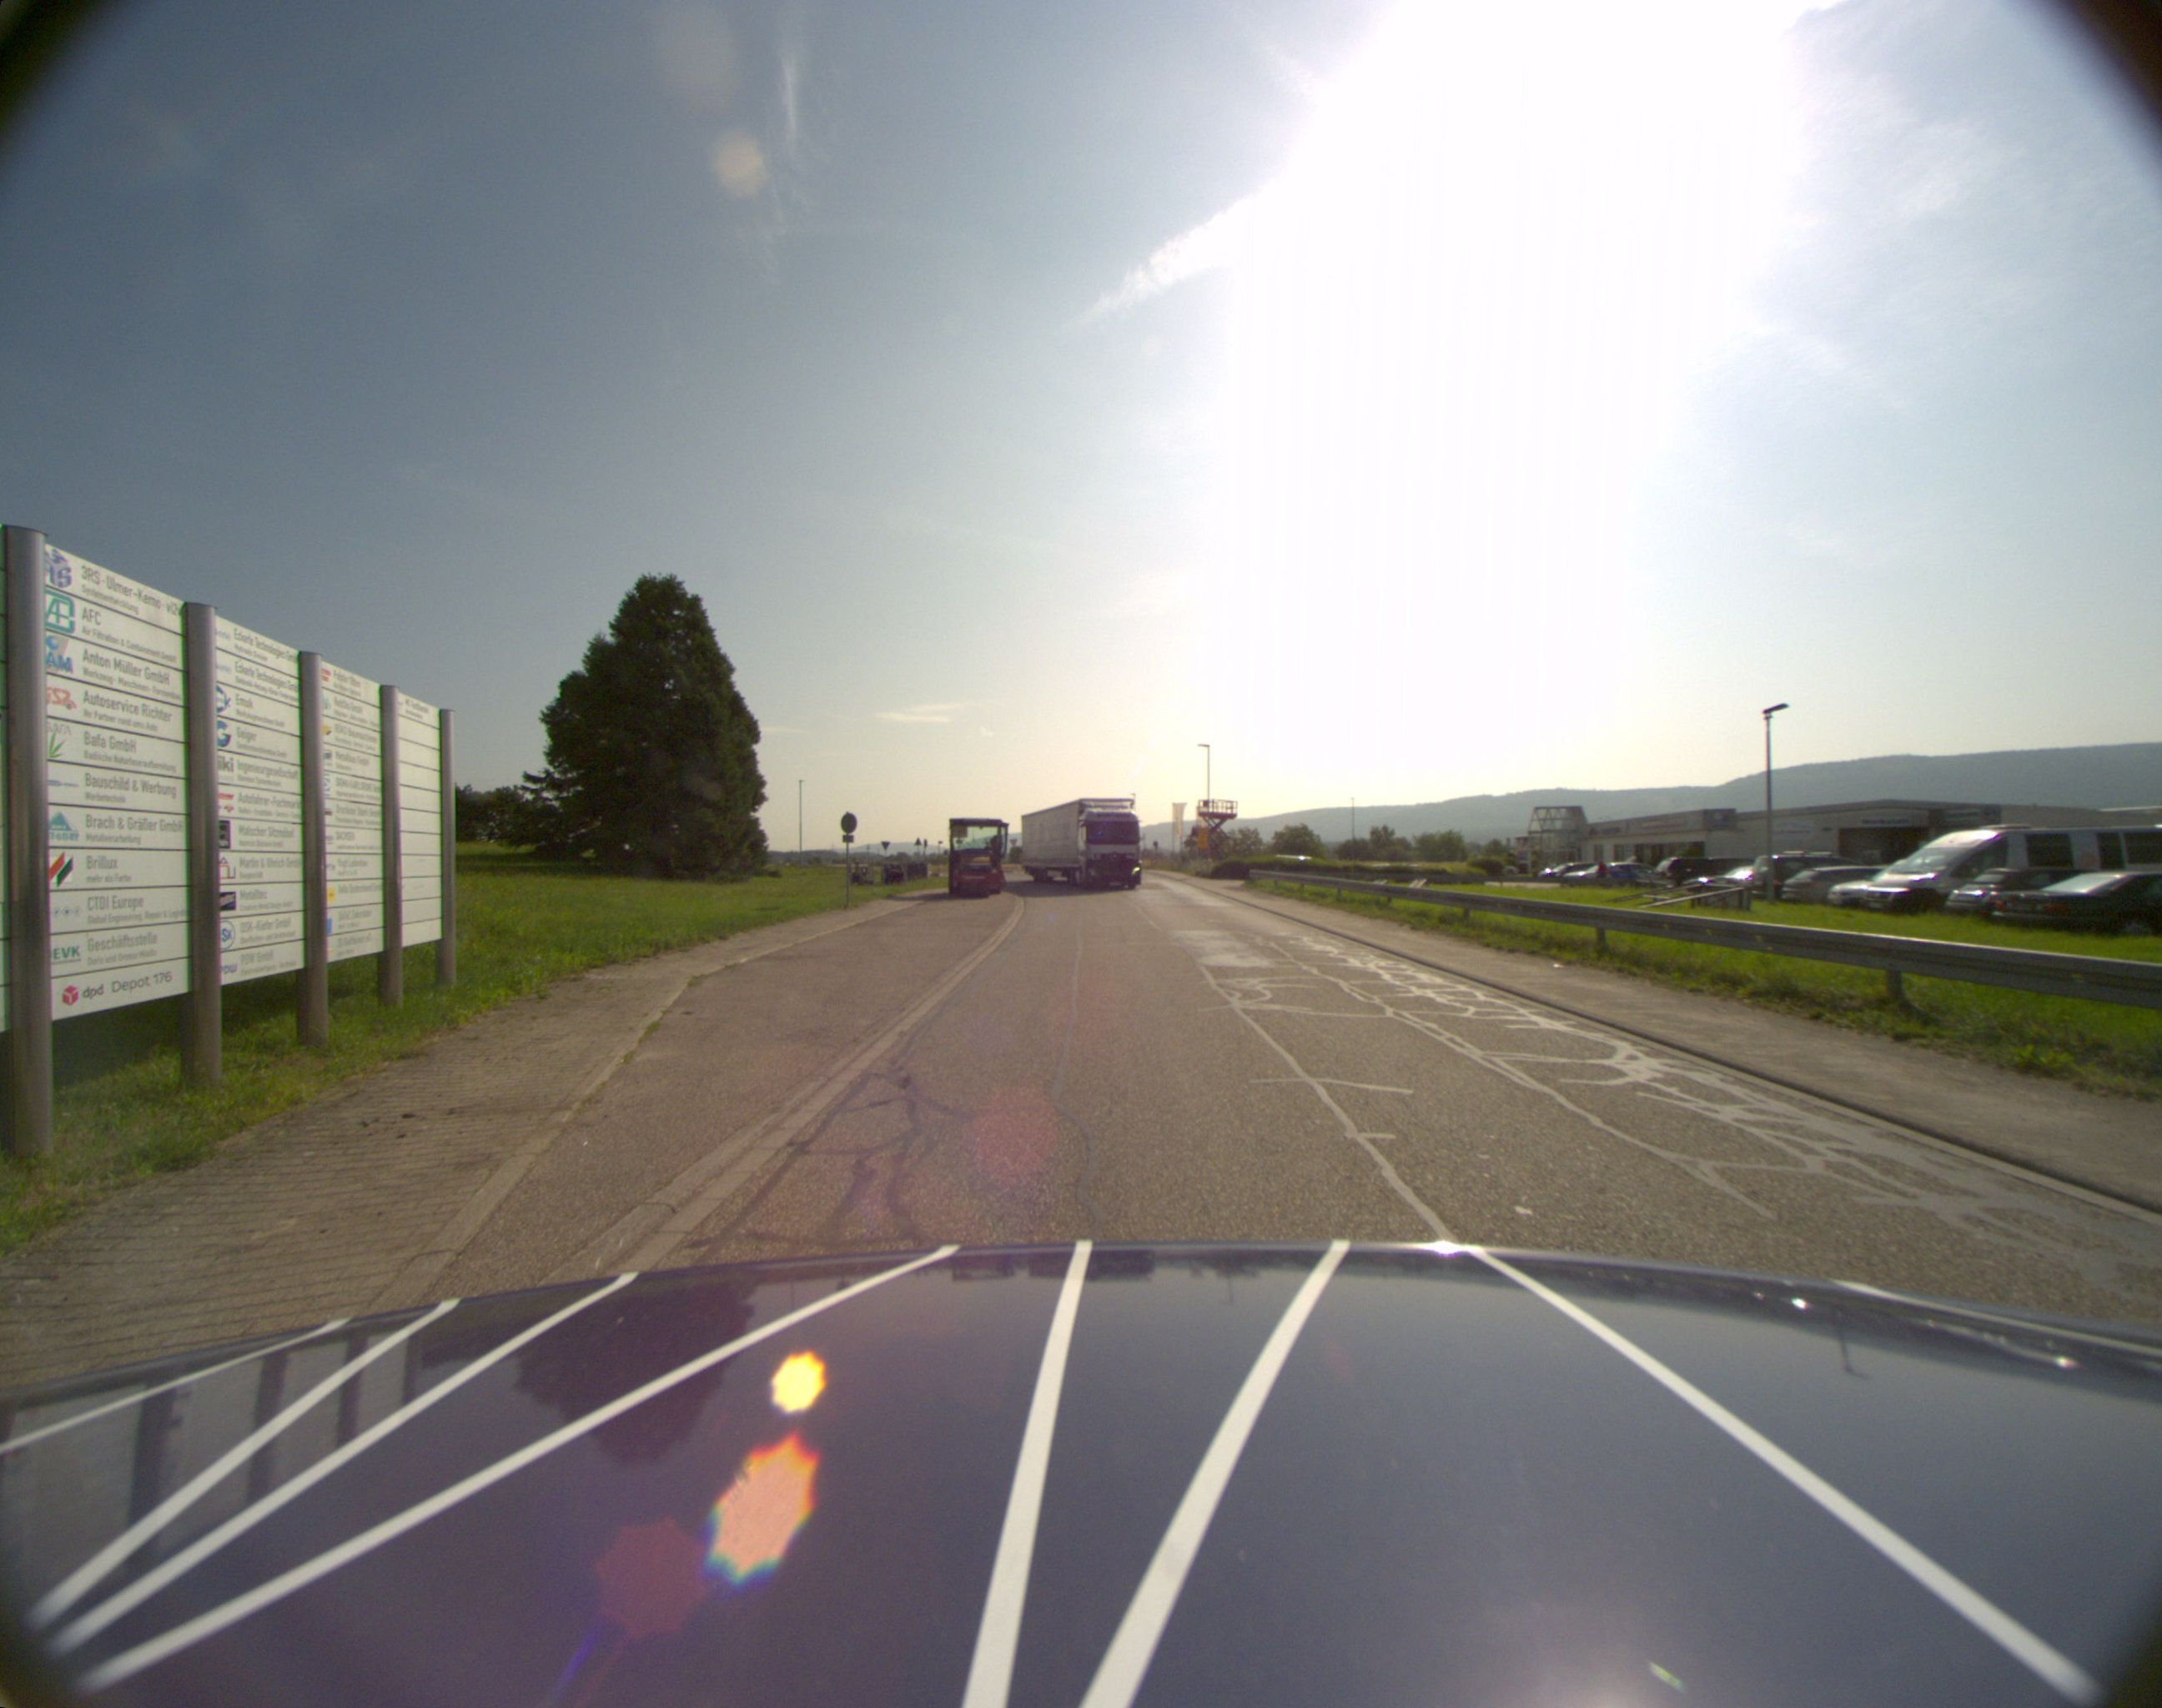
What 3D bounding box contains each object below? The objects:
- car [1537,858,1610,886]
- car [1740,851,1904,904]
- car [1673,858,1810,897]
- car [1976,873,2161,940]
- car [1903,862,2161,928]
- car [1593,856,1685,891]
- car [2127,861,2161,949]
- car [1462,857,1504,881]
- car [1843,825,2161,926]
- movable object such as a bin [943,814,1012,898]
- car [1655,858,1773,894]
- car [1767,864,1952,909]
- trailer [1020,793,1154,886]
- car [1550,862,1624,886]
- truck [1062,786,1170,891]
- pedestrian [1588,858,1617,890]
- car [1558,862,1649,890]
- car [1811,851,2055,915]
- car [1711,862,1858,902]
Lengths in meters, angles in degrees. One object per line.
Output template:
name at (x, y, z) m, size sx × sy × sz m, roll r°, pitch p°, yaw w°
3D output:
car at (35.183, 1.246, 54.375) m, size 4.087 × 1.861 × 1.820 m, roll 1°, pitch 0°, yaw 24°
car at (26.113, 0.782, 26.928) m, size 3.750 × 1.741 × 1.751 m, roll 1°, pitch 0°, yaw 15°
car at (27.533, 0.950, 31.818) m, size 3.993 × 1.512 × 1.686 m, roll 1°, pitch 0°, yaw 13°
car at (21.239, 1.027, 14.763) m, size 4.686 × 1.212 × 1.834 m, roll 1°, pitch -1°, yaw 20°
car at (22.651, 0.921, 17.444) m, size 4.755 × 1.346 × 1.925 m, roll 1°, pitch -1°, yaw 20°
car at (31.774, 1.106, 43.396) m, size 3.767 × 1.785 × 1.935 m, roll -2°, pitch 1°, yaw 14°
car at (21.163, 0.919, 12.043) m, size 5.131 × 1.525 × 2.029 m, roll 1°, pitch -1°, yaw 20°
car at (34.648, 1.256, 65.570) m, size 1.997 × 2.002 × 4.160 m, roll 1°, pitch 0°, yaw 9°
car at (23.830, 0.506, 19.624) m, size 5.394 × 2.358 × 2.298 m, roll 1°, pitch -1°, yaw 20°
movable object such as a bin at (-4.011, 0.074, 30.195) m, size 2.435 × 2.994 × 5.750 m, roll 1°, pitch 0°, yaw -6°
car at (28.288, 0.948, 34.085) m, size 3.681 × 1.512 × 1.686 m, roll 1°, pitch 0°, yaw 13°
car at (25.003, 1.003, 24.555) m, size 3.750 × 1.301 × 1.809 m, roll 1°, pitch 0°, yaw 15°
trailer at (-0.222, -0.719, 41.814) m, size 3.502 × 4.183 × 14.213 m, roll -3°, pitch 1°, yaw -15°
car at (32.811, 1.255, 49.365) m, size 3.659 × 1.455 × 1.766 m, roll 1°, pitch 0°, yaw 16°
truck at (1.407, -0.679, 34.174) m, size 3.398 × 4.183 × 6.092 m, roll -3°, pitch 1°, yaw -10°
pedestrian at (29.302, 1.131, 42.672) m, size 0.840 × 1.744 × 0.991 m, roll -3°, pitch 1°, yaw -17°
car at (31.734, 1.315, 46.260) m, size 4.149 × 1.527 × 1.885 m, roll 1°, pitch 0°, yaw 13°
car at (24.599, 0.804, 22.169) m, size 4.393 × 1.653 × 1.810 m, roll 1°, pitch -1°, yaw 20°
car at (27.010, 1.035, 29.315) m, size 3.750 × 1.381 × 1.731 m, roll 1°, pitch 0°, yaw 15°
